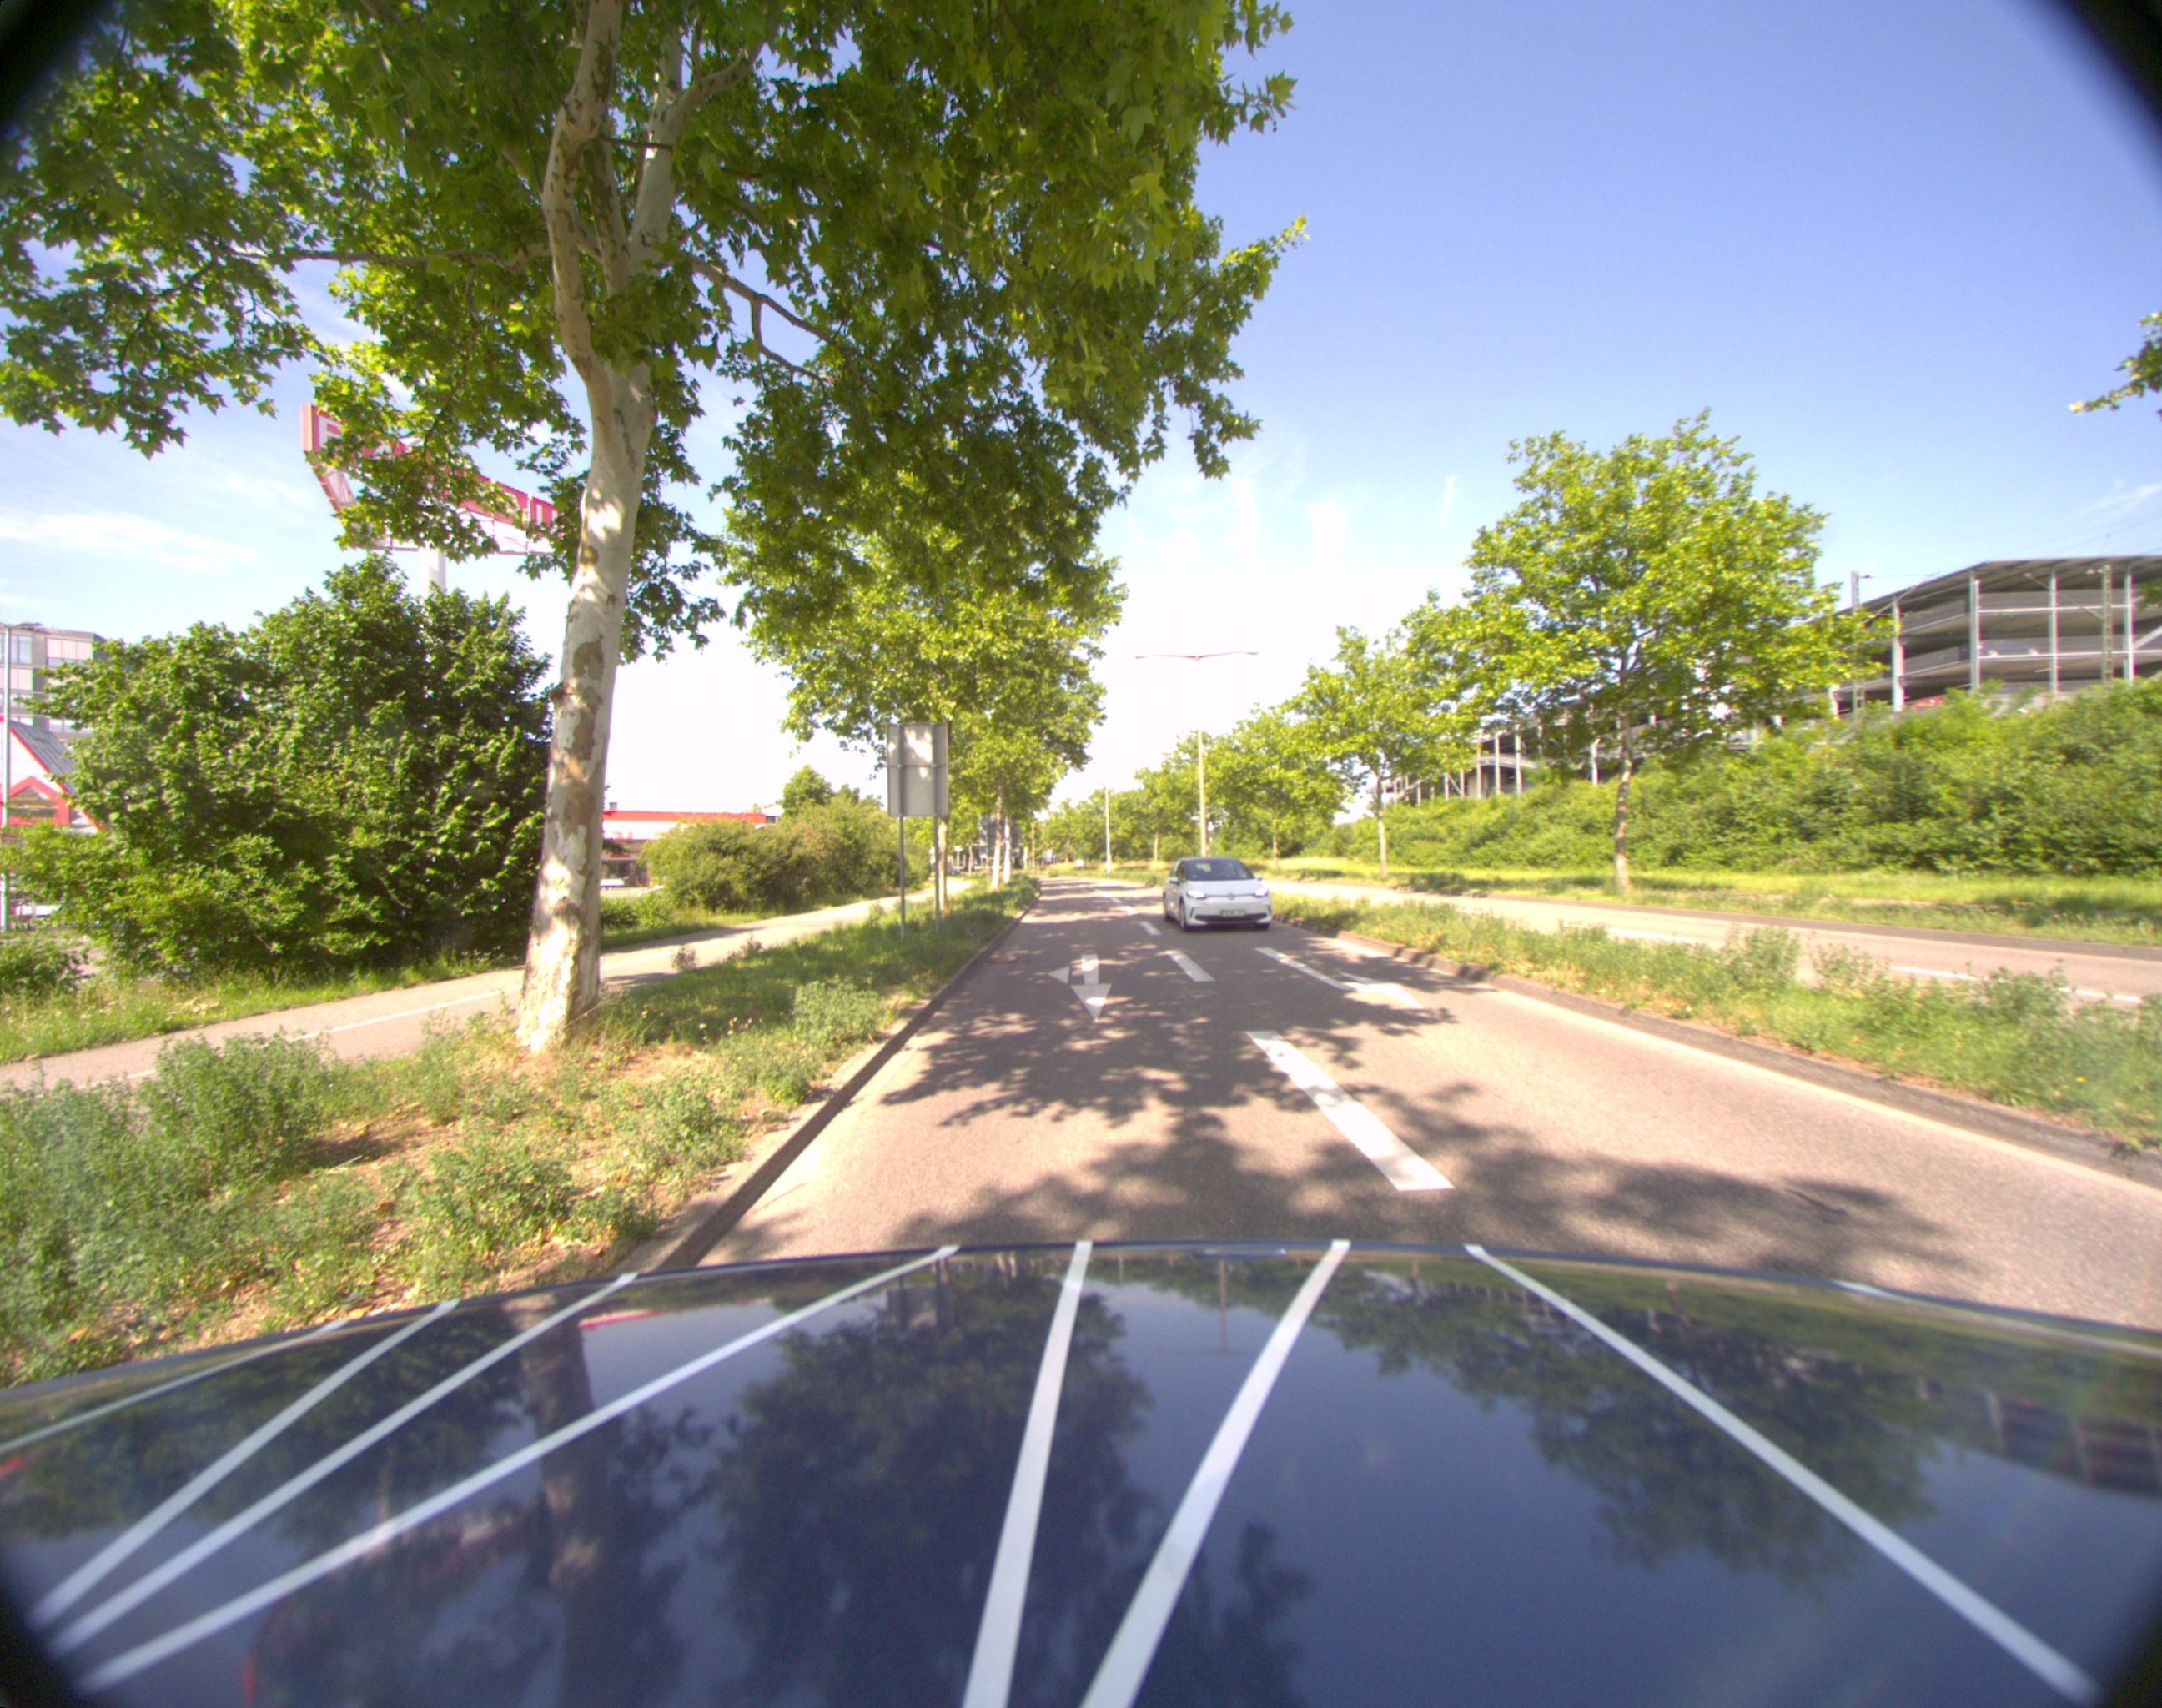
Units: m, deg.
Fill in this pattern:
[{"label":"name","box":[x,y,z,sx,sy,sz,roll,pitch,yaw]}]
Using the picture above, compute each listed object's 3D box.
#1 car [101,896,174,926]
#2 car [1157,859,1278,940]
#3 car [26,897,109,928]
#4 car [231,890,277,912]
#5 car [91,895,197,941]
[{"label":"car","box":[-50.527,3.005,40.761,1.572,1.371,3.610,-2,0,-37]},{"label":"car","box":[2.875,0.899,16.944,1.824,1.512,4.208,-2,0,-1]},{"label":"car","box":[-51.929,2.966,39.023,1.572,1.371,3.610,-2,0,-37]},{"label":"car","box":[-60.568,3.429,55.703,1.572,1.371,3.610,-2,0,-37]},{"label":"car","box":[-36.071,2.426,29.349,1.784,1.477,3.779,-2,0,-39]}]
